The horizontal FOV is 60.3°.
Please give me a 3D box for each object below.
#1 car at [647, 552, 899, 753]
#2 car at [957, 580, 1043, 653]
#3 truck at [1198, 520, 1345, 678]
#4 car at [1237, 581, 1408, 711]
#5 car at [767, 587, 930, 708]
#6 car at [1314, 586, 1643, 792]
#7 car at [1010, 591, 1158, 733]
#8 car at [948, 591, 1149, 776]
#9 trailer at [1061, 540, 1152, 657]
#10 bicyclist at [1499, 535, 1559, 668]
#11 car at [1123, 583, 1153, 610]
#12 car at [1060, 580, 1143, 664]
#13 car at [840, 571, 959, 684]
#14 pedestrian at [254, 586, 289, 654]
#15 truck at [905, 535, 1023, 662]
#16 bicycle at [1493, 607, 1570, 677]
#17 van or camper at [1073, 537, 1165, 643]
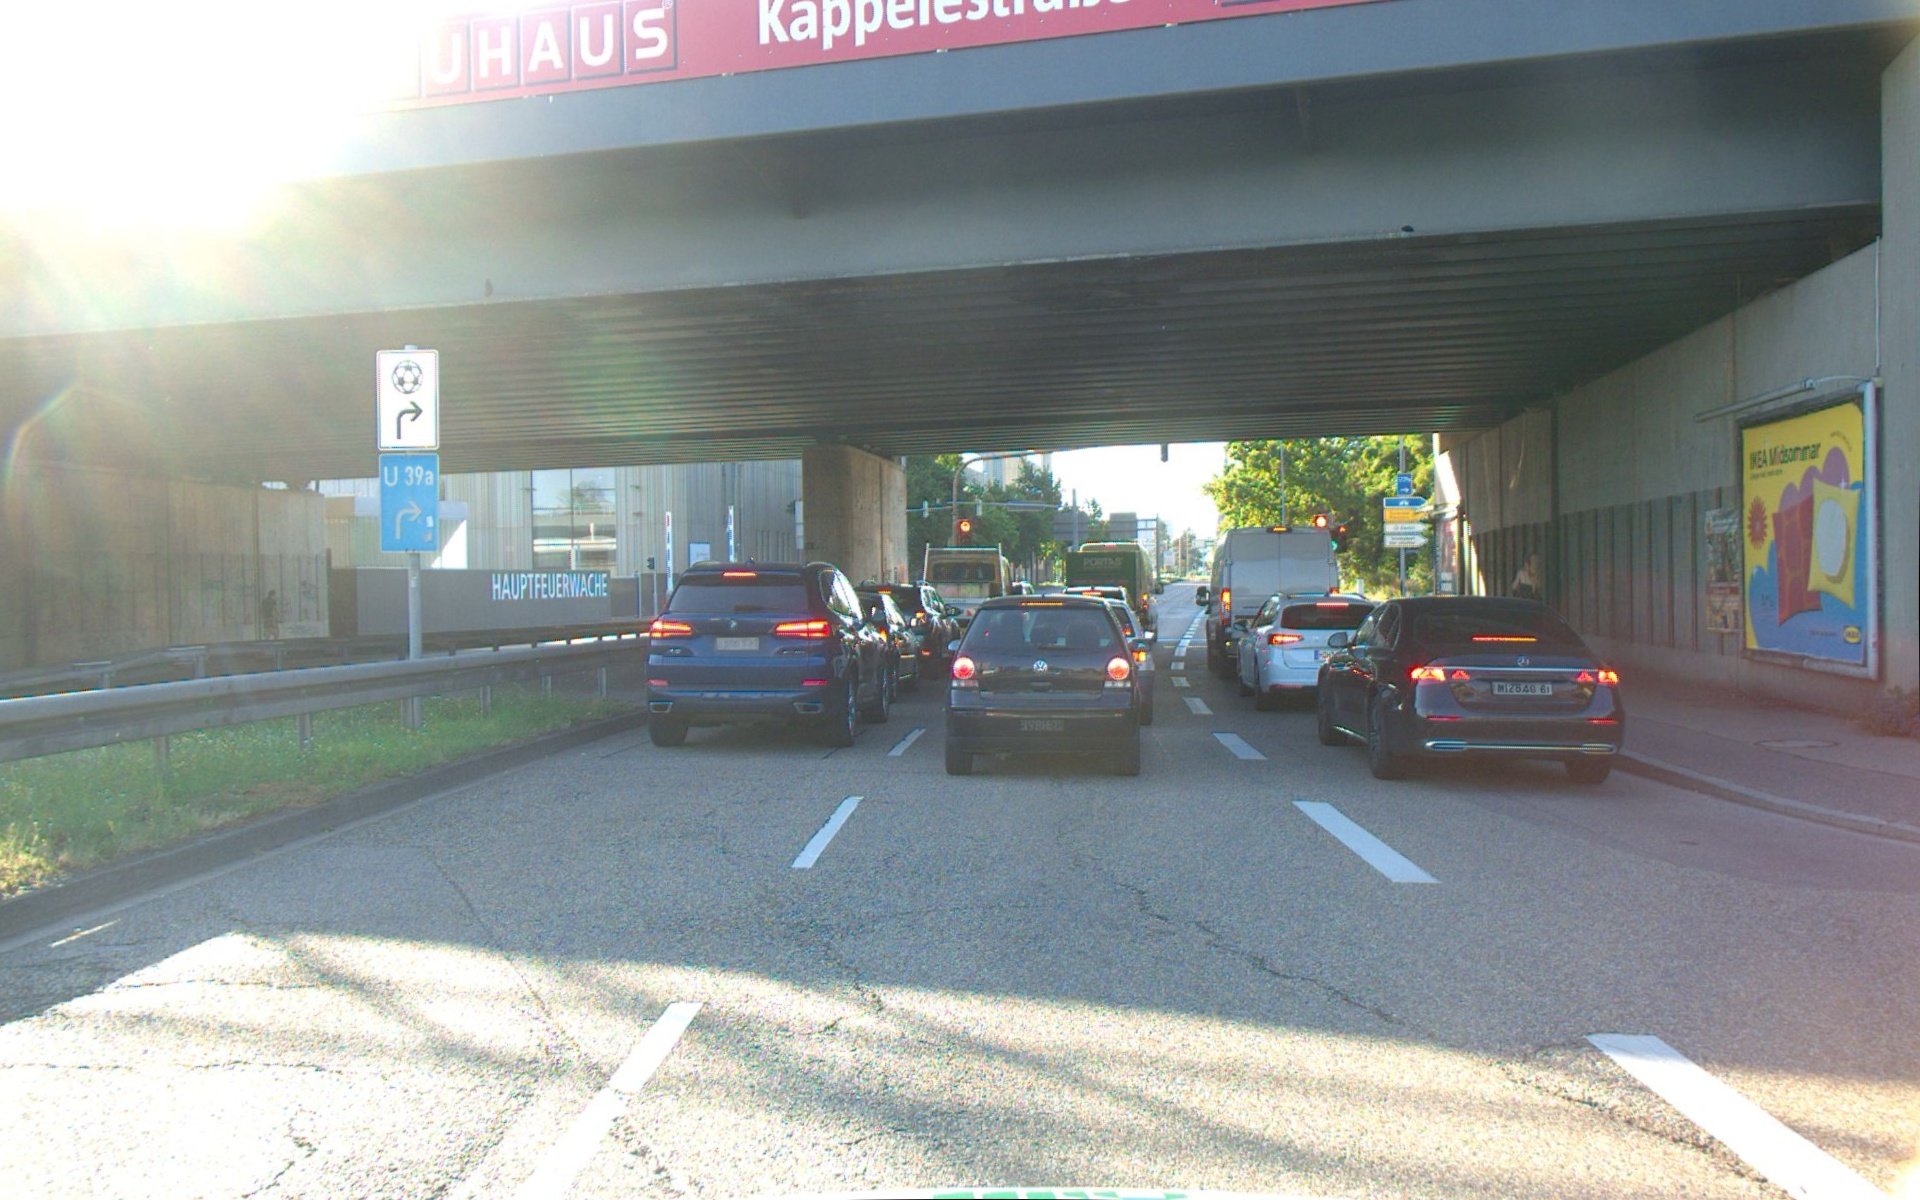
[{"bbox_3d":[-1.760,0.498,17.011,1.791,1.769,4.463,-1,-1,4],"label":"car"},{"bbox_3d":[1.164,0.467,46.280,1.951,1.934,4.003,-1,-1,8],"label":"car"},{"bbox_3d":[5.525,-0.005,29.835,2.067,2.563,4.403,-2,-1,5],"label":"truck"},{"bbox_3d":[4.710,0.580,21.953,1.735,1.521,3.834,-2,-1,6],"label":"car"},{"bbox_3d":[-1.501,0.636,23.533,1.803,1.465,3.676,-4,-1,3],"label":"car"},{"bbox_3d":[4.335,0.644,14.563,1.704,1.480,4.608,0,1,3],"label":"car"},{"bbox_3d":[1.493,0.667,19.703,1.515,1.448,3.419,-4,0,5],"label":"car"},{"bbox_3d":[0.750,0.674,14.719,1.549,1.433,3.832,0,-1,2],"label":"car"},{"bbox_3d":[3.432,-0.012,38.216,1.824,2.508,3.835,-2,-1,8],"label":"trailer"},{"bbox_3d":[8.464,0.029,24.623,0.667,1.940,0.834,-1,-1,8],"label":"bicyclist"},{"bbox_3d":[11.174,-0.196,103.593,1.762,1.632,4.003,-1,-1,7],"label":"car"},{"bbox_3d":[2.856,0.441,33.002,1.548,1.559,3.834,0,-1,6],"label":"car"},{"bbox_3d":[-1.006,0.483,29.561,1.803,1.749,4.000,-4,-1,1],"label":"car"},{"bbox_3d":[-19.755,0.571,47.487,0.679,1.937,0.665,-1,-1,8],"label":"pedestrian"},{"bbox_3d":[0.179,0.003,37.057,1.985,2.601,5.541,-1,-1,7],"label":"truck"},{"bbox_3d":[8.468,0.607,24.610,0.566,0.980,2.888,-1,-1,9],"label":"bicycle"},{"bbox_3d":[4.348,-0.220,44.408,1.951,2.615,5.923,-1,-1,10],"label":"van or camper"}]
